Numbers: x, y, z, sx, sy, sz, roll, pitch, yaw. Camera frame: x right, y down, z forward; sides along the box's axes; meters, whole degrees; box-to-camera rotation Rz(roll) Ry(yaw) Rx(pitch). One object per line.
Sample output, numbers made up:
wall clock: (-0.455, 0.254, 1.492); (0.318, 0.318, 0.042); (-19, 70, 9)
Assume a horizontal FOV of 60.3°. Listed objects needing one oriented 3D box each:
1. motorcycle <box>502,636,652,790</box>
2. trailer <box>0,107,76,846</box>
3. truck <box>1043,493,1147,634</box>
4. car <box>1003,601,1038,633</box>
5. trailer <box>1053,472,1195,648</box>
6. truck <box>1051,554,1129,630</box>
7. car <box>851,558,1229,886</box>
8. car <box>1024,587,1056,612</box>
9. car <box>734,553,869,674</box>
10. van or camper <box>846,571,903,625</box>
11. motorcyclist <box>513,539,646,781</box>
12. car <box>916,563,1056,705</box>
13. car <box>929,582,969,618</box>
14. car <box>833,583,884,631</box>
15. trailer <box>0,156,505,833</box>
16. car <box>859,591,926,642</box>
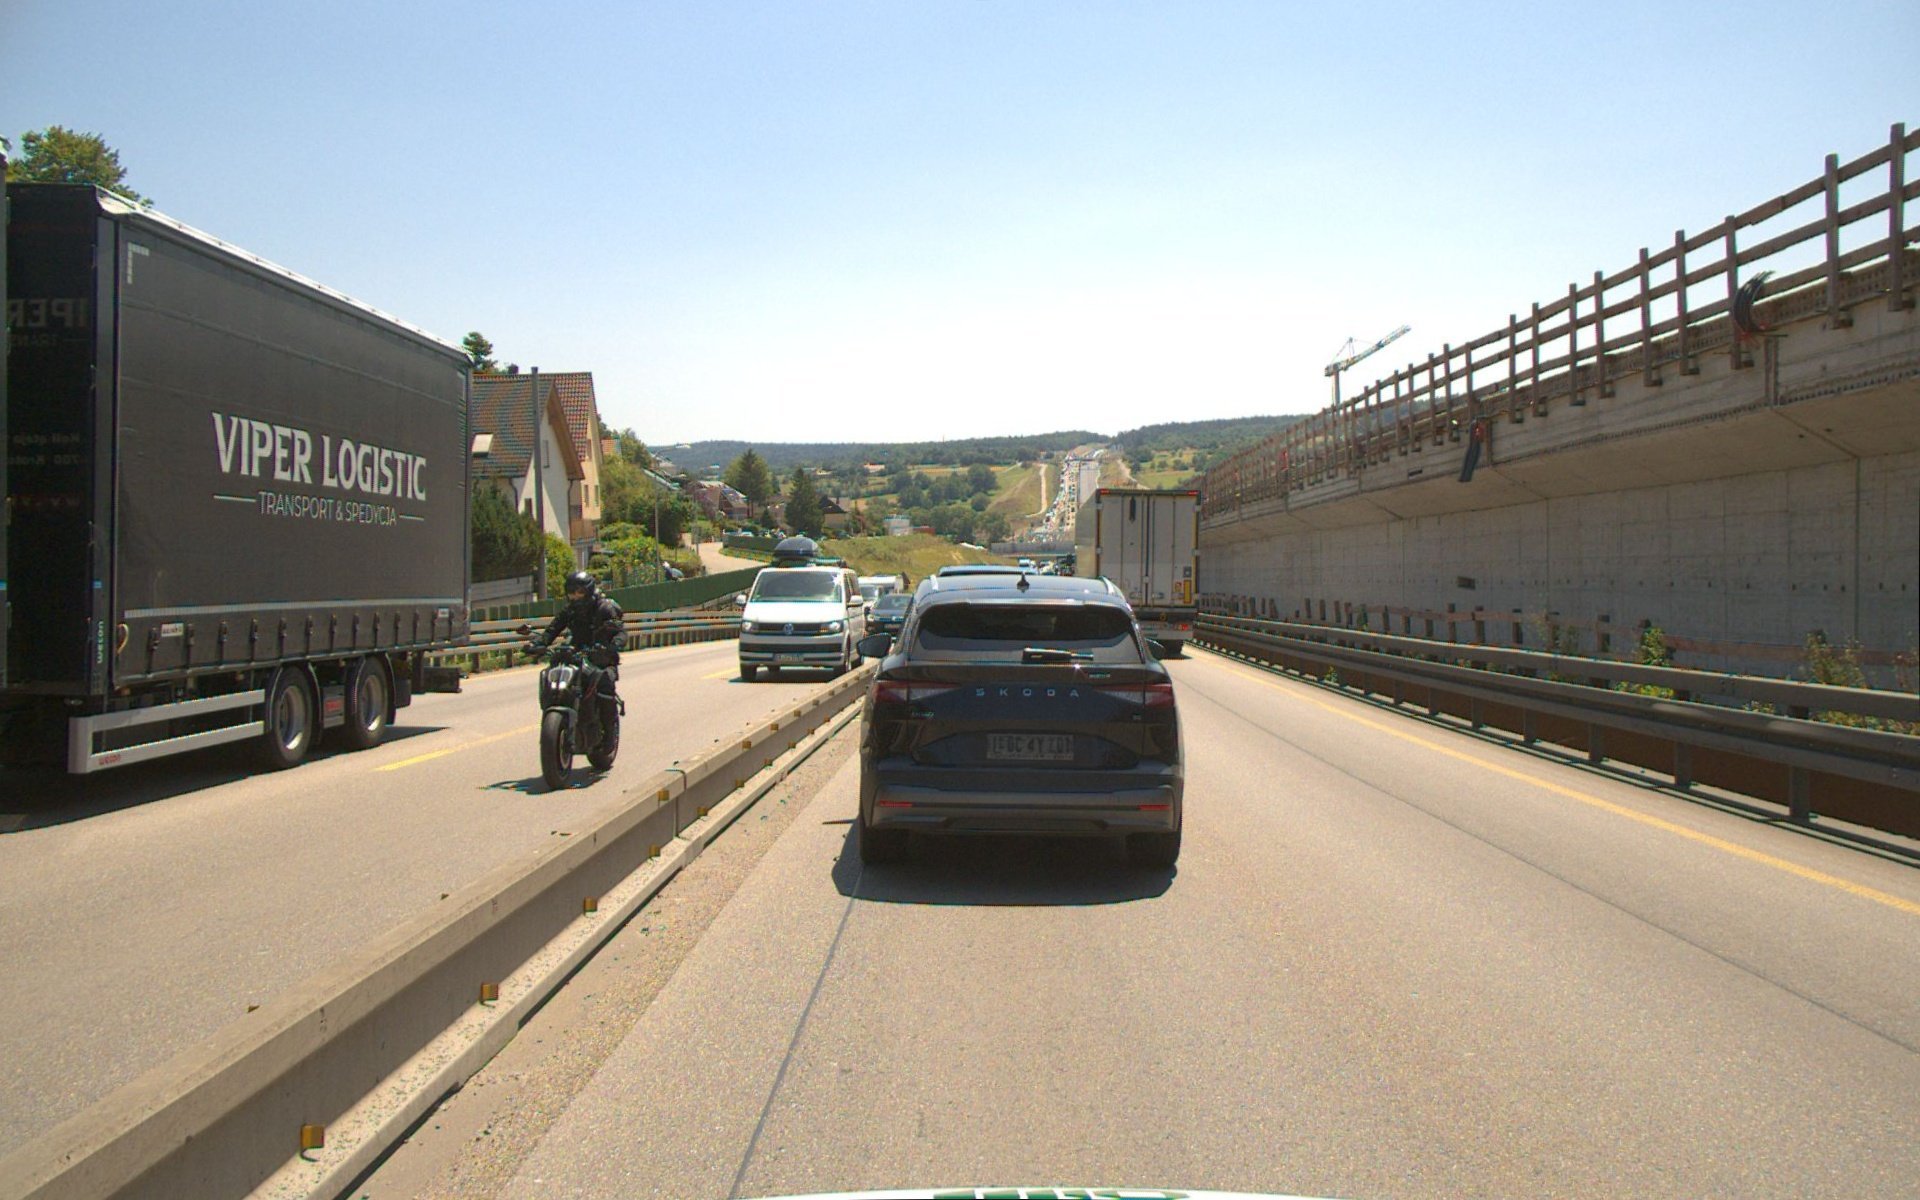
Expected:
motorcycle: (-3.069, 0.874, 13.446); (0.770, 1.098, 1.912); (1, 0, 0)
trailer: (-6.696, -0.651, 6.041); (2.701, 4.141, 8.006); (1, 1, -1)
truck: (4.159, -1.008, 52.581); (2.462, 4.096, 8.235); (1, -1, -1)
car: (3.333, 0.924, 91.814); (1.672, 1.650, 3.999); (1, 1, -1)
trailer: (4.269, -0.883, 45.462); (2.480, 4.199, 11.544); (1, -1, -1)
truck: (5.987, -0.248, 77.996); (3.128, 3.247, 12.811); (0, -1, 2)
car: (0.284, 0.639, 10.187); (1.806, 1.614, 3.903); (1, -1, -5)
car: (5.562, -0.018, 115.215); (1.953, 1.613, 3.835); (1, -1, 0)
car: (-2.771, 0.261, 29.982); (1.981, 1.995, 4.898); (1, -1, 0)
van or camper: (-4.214, -0.068, 82.765); (2.305, 2.560, 6.329); (1, -1, 2)
motorcyclist: (-3.069, 0.467, 13.421); (0.836, 1.887, 0.983); (1, 0, -1)
car: (0.304, 0.445, 24.586); (1.673, 1.914, 3.996); (1, 1, -5)
car: (-0.520, 0.019, 79.833); (1.834, 1.614, 4.479); (1, -1, 1)
car: (-4.470, 0.339, 73.543); (1.952, 2.049, 4.000); (1, -1, 1)
trailer: (-6.620, -0.726, 14.473); (2.700, 4.141, 8.636); (1, 1, 1)
car: (-2.092, 0.547, 52.650); (1.953, 1.530, 4.648); (1, -1, 0)
